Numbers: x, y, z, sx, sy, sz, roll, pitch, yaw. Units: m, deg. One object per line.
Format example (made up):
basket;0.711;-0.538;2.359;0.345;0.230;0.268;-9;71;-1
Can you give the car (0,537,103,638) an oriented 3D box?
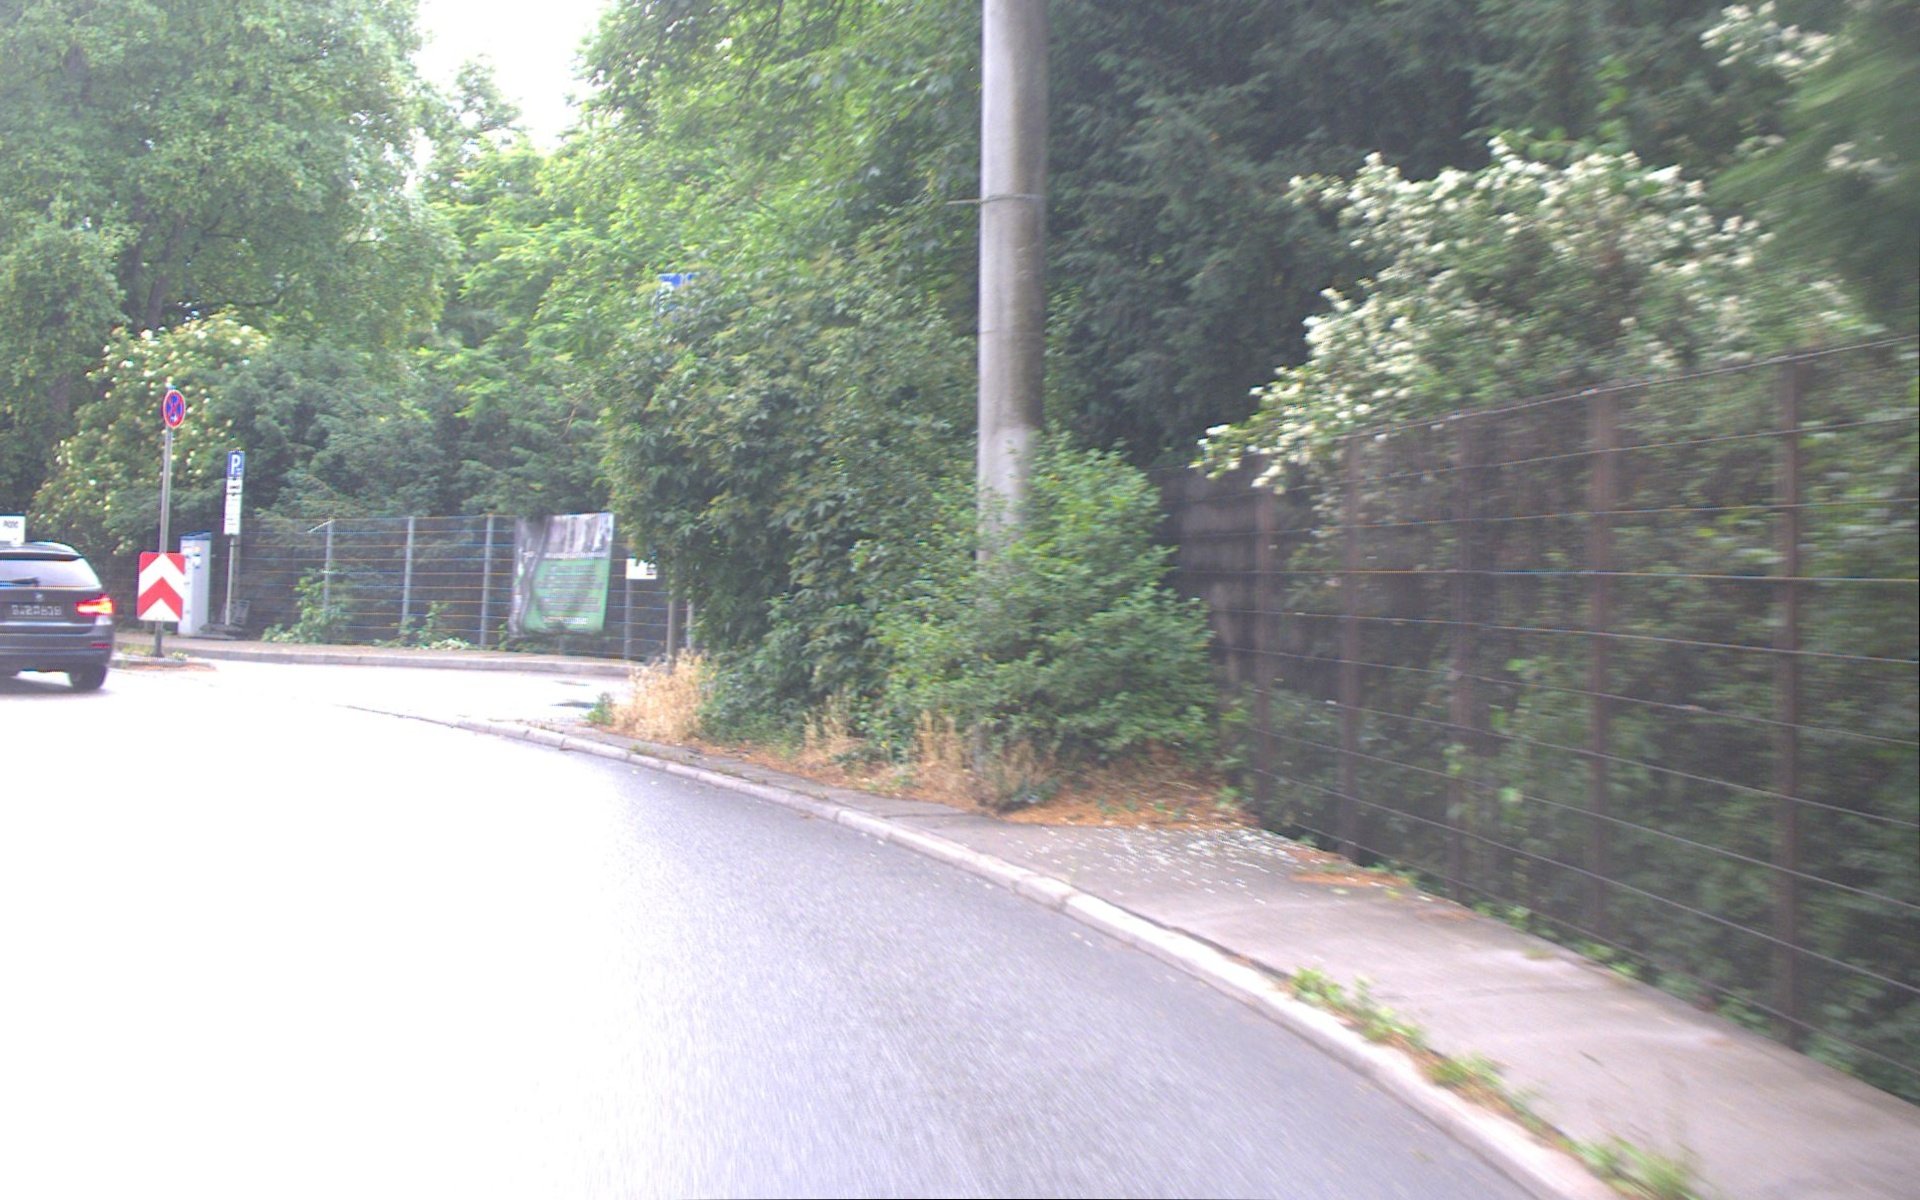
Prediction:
car;-15.460;-0.269;54.113;4.368;1.422;1.688;3;-2;44

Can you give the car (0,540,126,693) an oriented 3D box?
car;-9.860;0.131;34.235;1.757;1.427;4.412;-1;1;-31
